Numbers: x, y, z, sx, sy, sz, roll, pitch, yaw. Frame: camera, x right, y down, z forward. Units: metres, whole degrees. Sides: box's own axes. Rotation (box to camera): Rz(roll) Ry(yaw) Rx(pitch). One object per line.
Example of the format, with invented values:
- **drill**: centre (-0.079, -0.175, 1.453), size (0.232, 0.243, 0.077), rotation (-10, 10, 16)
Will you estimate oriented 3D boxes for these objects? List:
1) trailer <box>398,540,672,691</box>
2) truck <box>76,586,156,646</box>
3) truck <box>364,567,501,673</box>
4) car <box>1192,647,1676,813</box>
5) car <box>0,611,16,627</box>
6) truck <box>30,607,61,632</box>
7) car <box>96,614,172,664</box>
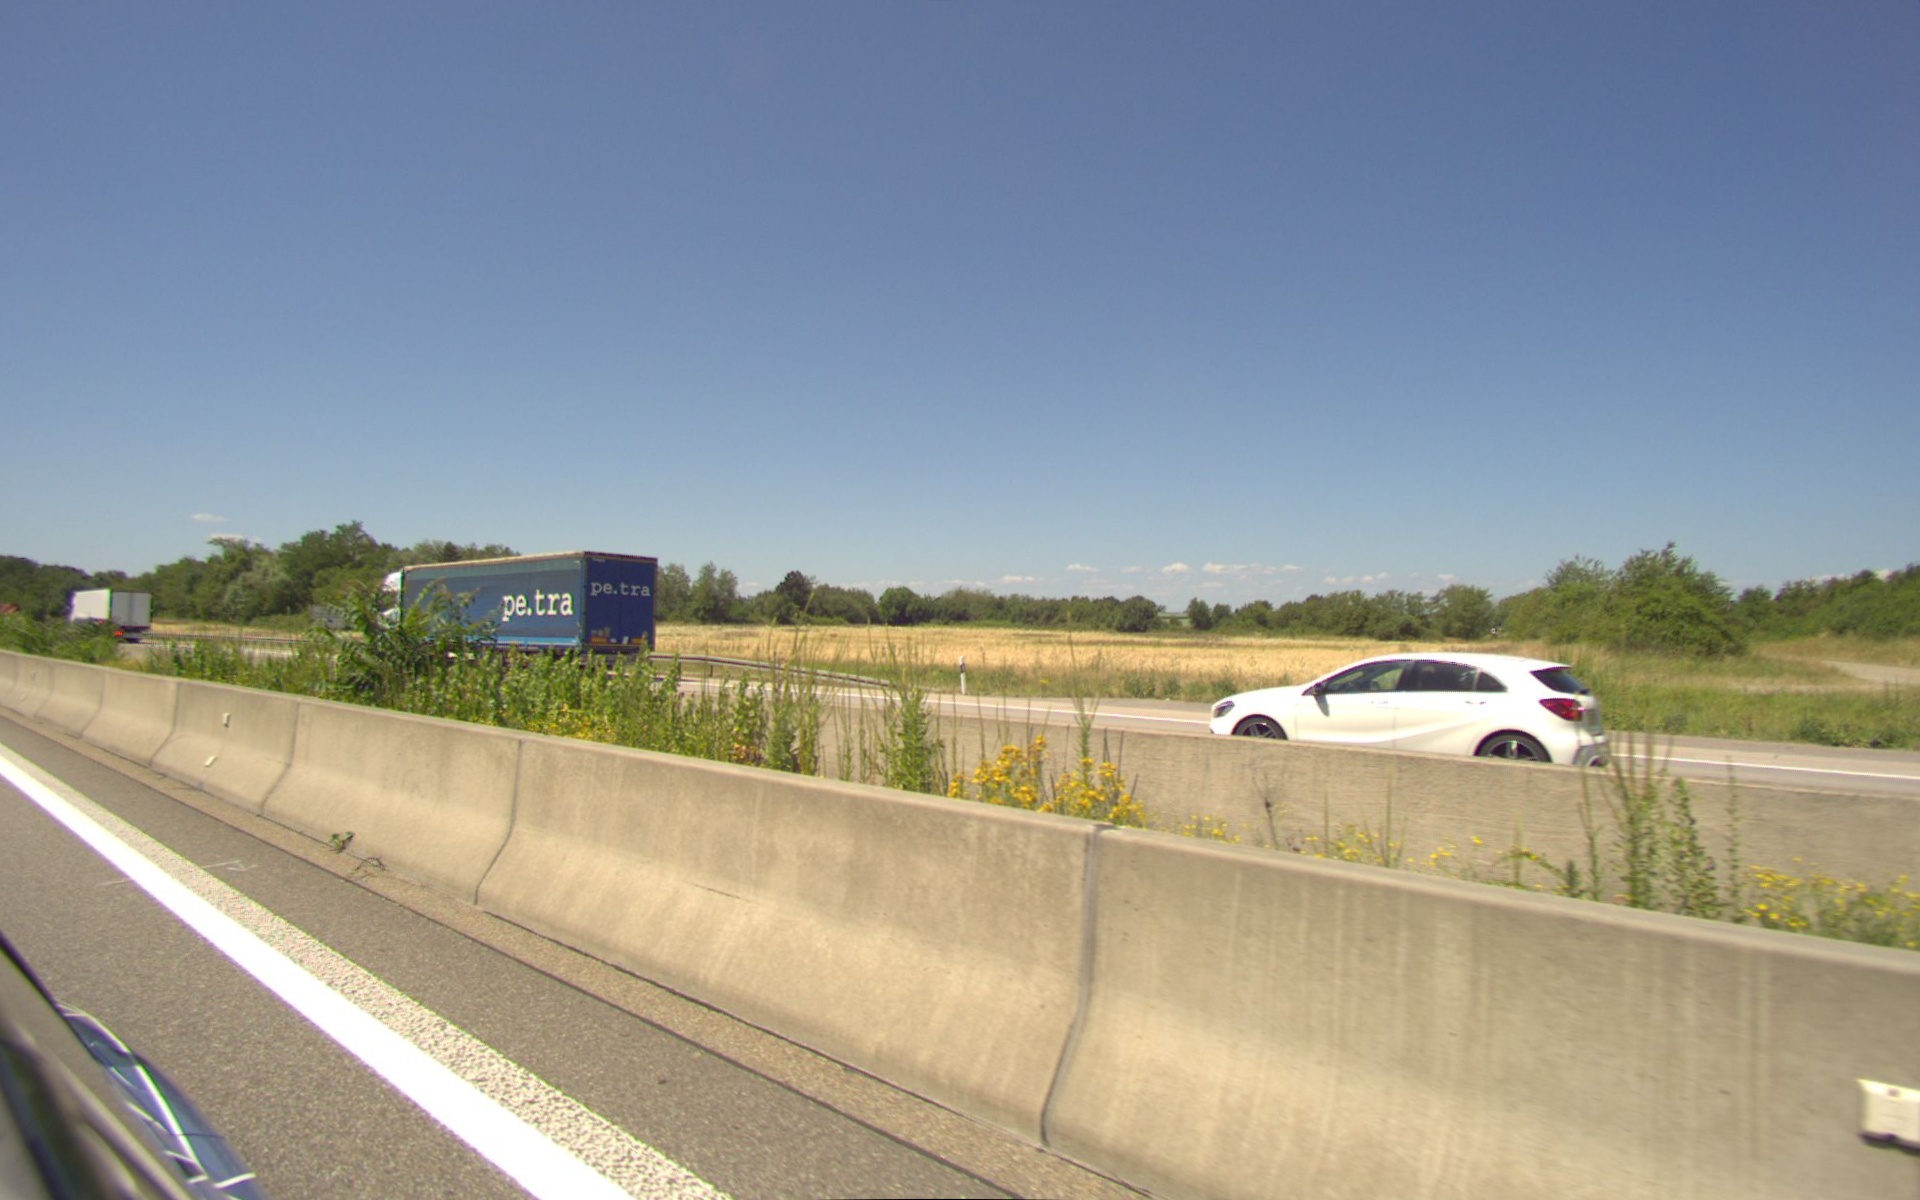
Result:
- **trailer**: centre (-15.250, 0.499, 35.288), size (13.496, 4.412, 3.231), rotation (-1, 0, 41)
- **truck**: centre (-66.055, 1.184, 79.085), size (10.532, 4.412, 3.217), rotation (-1, 0, 41)
- **truck**: centre (-21.130, 0.742, 40.457), size (5.156, 3.924, 3.198), rotation (-1, 0, 41)
- **car**: centre (5.158, 1.291, 11.433), size (4.667, 1.420, 1.795), rotation (-1, -3, 40)
- **car**: centre (-114.605, 2.259, 121.449), size (3.555, 1.861, 1.576), rotation (-1, -1, 41)
- **truck**: centre (-147.901, 3.146, 163.655), size (8.165, 3.870, 2.884), rotation (-1, 0, 41)
- **car**: centre (-35.662, 1.653, 43.668), size (3.998, 2.029, 1.838), rotation (-1, -2, 41)
